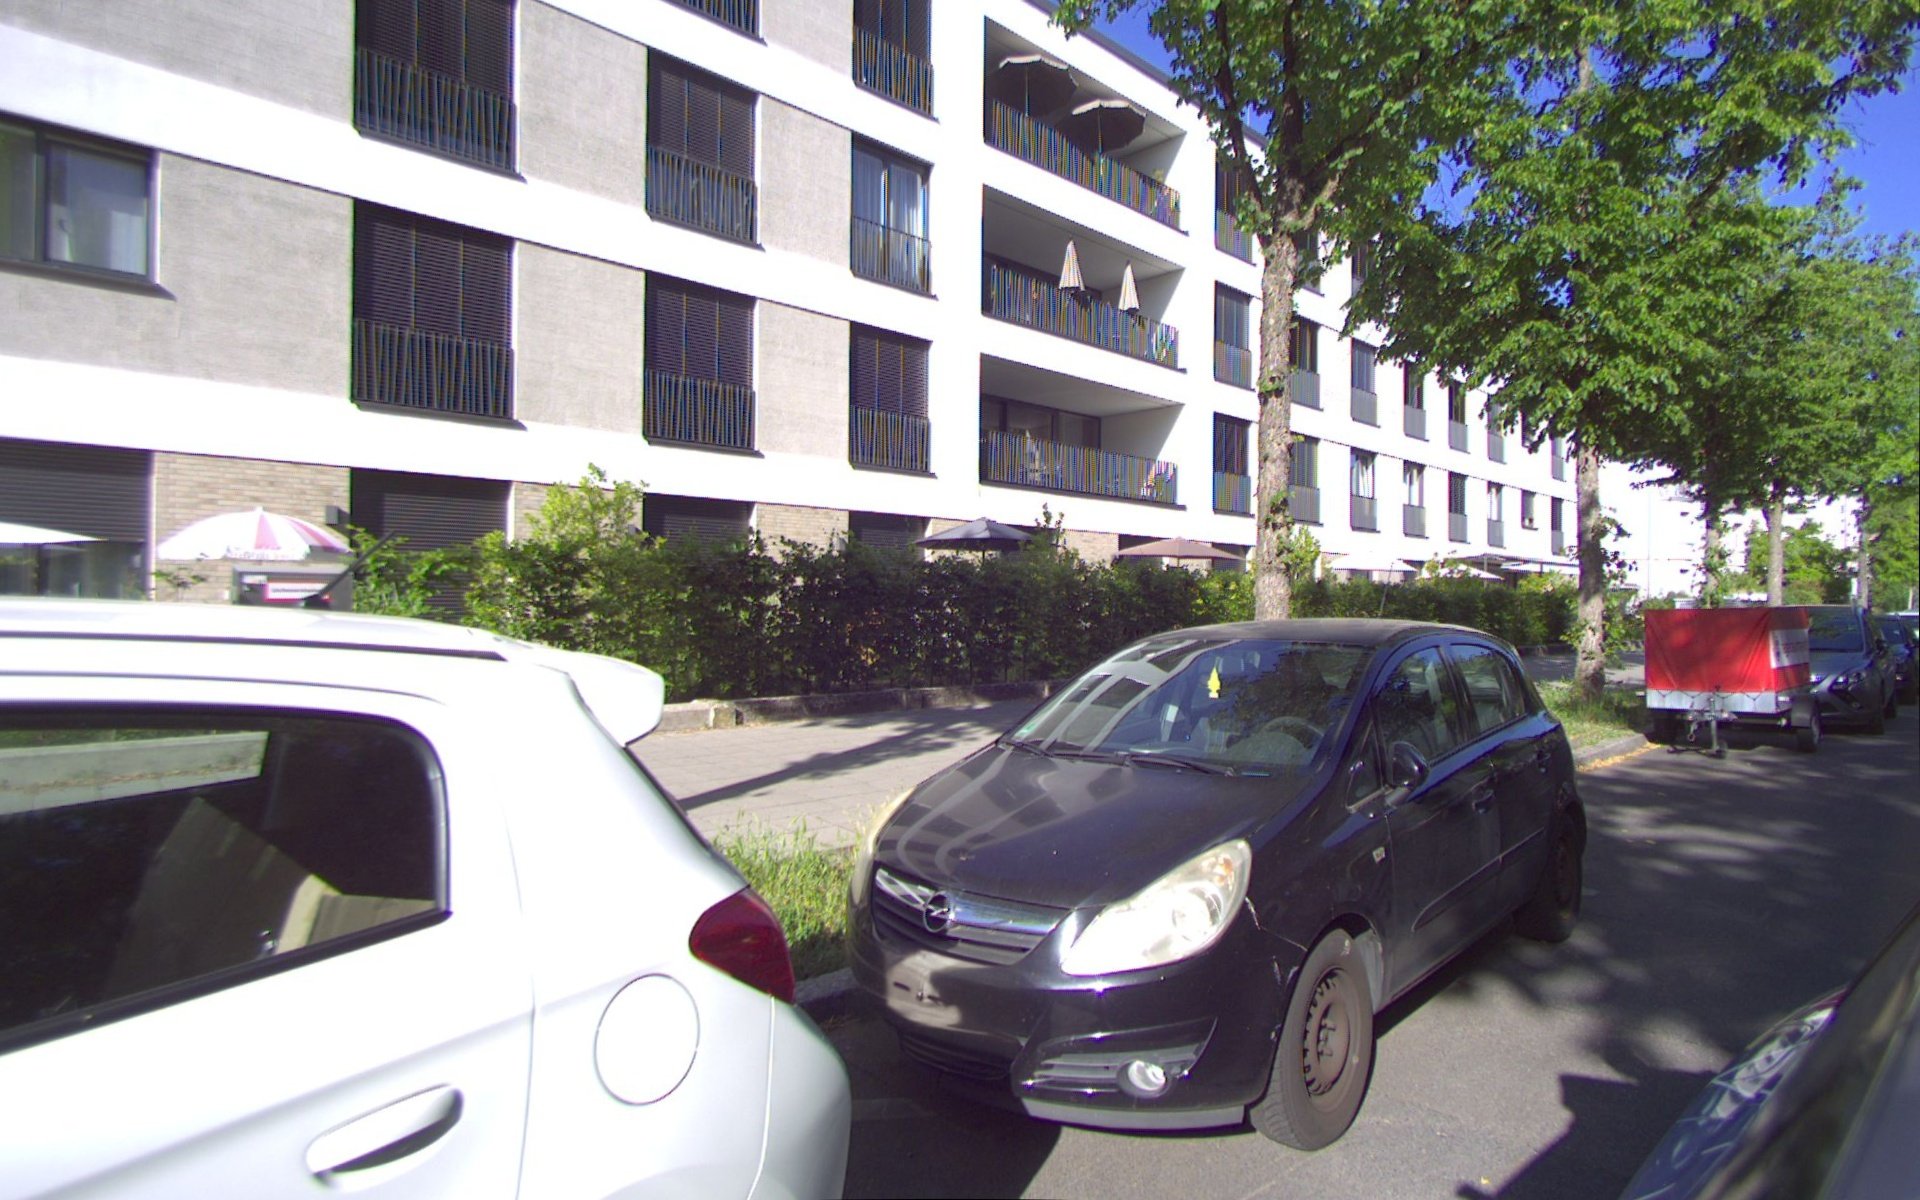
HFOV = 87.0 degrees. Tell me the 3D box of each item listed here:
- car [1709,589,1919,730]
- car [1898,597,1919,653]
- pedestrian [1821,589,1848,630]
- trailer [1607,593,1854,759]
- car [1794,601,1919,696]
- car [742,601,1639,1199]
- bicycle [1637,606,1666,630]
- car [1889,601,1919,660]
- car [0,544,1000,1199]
[{"bbox_3d":[12.191,0.739,14.278,4.738,1.664,1.793,0,-2,-44],"label":"car"},{"bbox_3d":[31.185,0.762,31.872,4.776,1.668,1.900,0,-1,-41],"label":"car"},{"bbox_3d":[44.384,0.469,51.380,0.989,2.039,0.906,1,0,-42],"label":"pedestrian"},{"bbox_3d":[8.741,0.761,11.412,3.136,1.599,1.576,0,-2,-41],"label":"trailer"},{"bbox_3d":[16.656,0.803,18.391,4.270,1.536,1.720,0,-1,-42],"label":"car"},{"bbox_3d":[1.322,0.768,4.210,4.110,1.469,1.670,0,-2,-45],"label":"car"},{"bbox_3d":[26.756,0.702,39.144,1.582,0.906,0.563,0,-1,-43],"label":"bicycle"},{"bbox_3d":[26.959,0.805,28.038,1.780,1.537,4.614,-1,-1,43],"label":"car"},{"bbox_3d":[-1.920,0.705,1.098,1.733,1.506,3.944,-1,-1,45],"label":"car"}]
